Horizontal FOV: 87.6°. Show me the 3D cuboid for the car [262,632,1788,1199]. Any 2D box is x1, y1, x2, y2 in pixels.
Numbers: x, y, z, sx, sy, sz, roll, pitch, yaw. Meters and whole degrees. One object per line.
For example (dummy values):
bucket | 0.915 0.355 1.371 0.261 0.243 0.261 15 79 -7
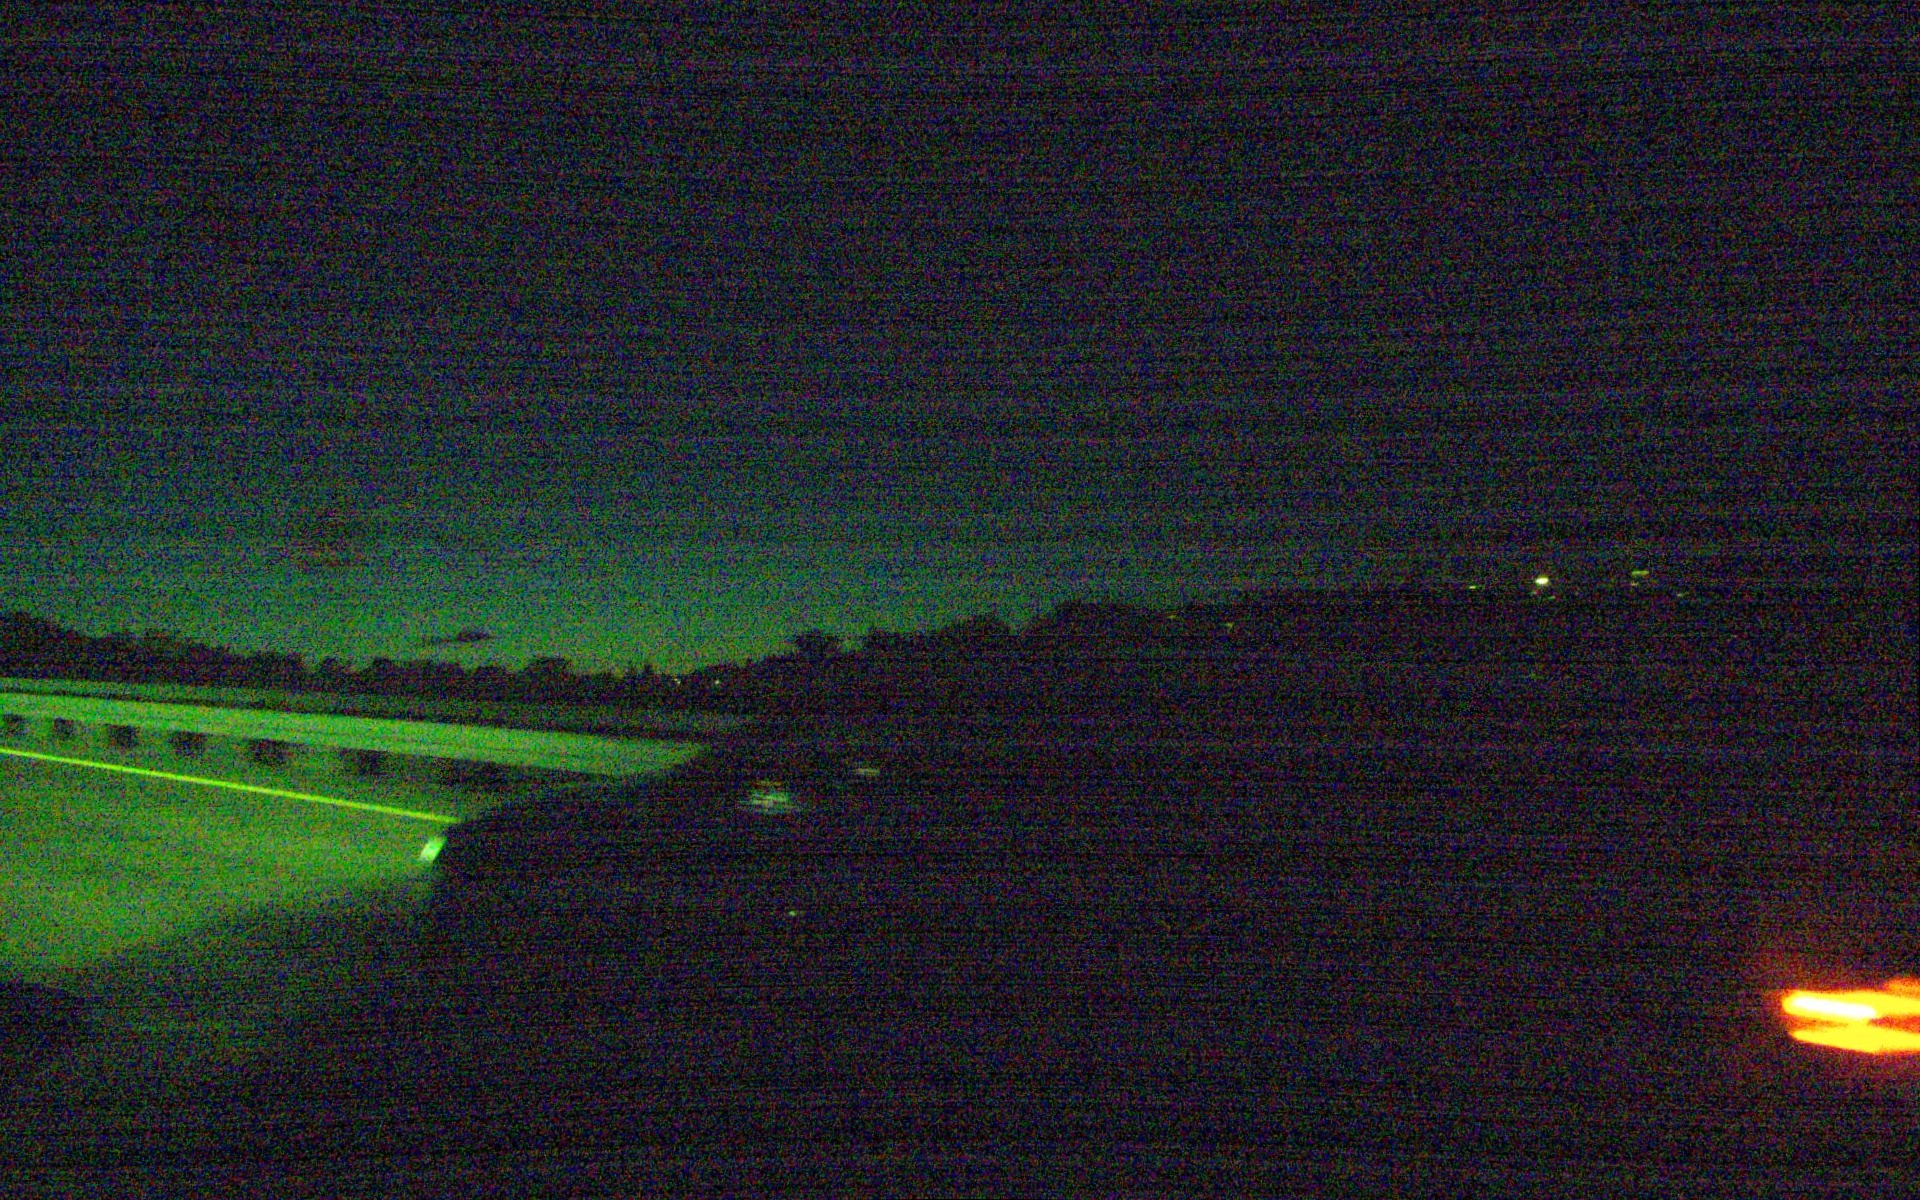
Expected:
car | -0.336 0.869 3.528 4.806 1.445 1.804 -1 0 33
